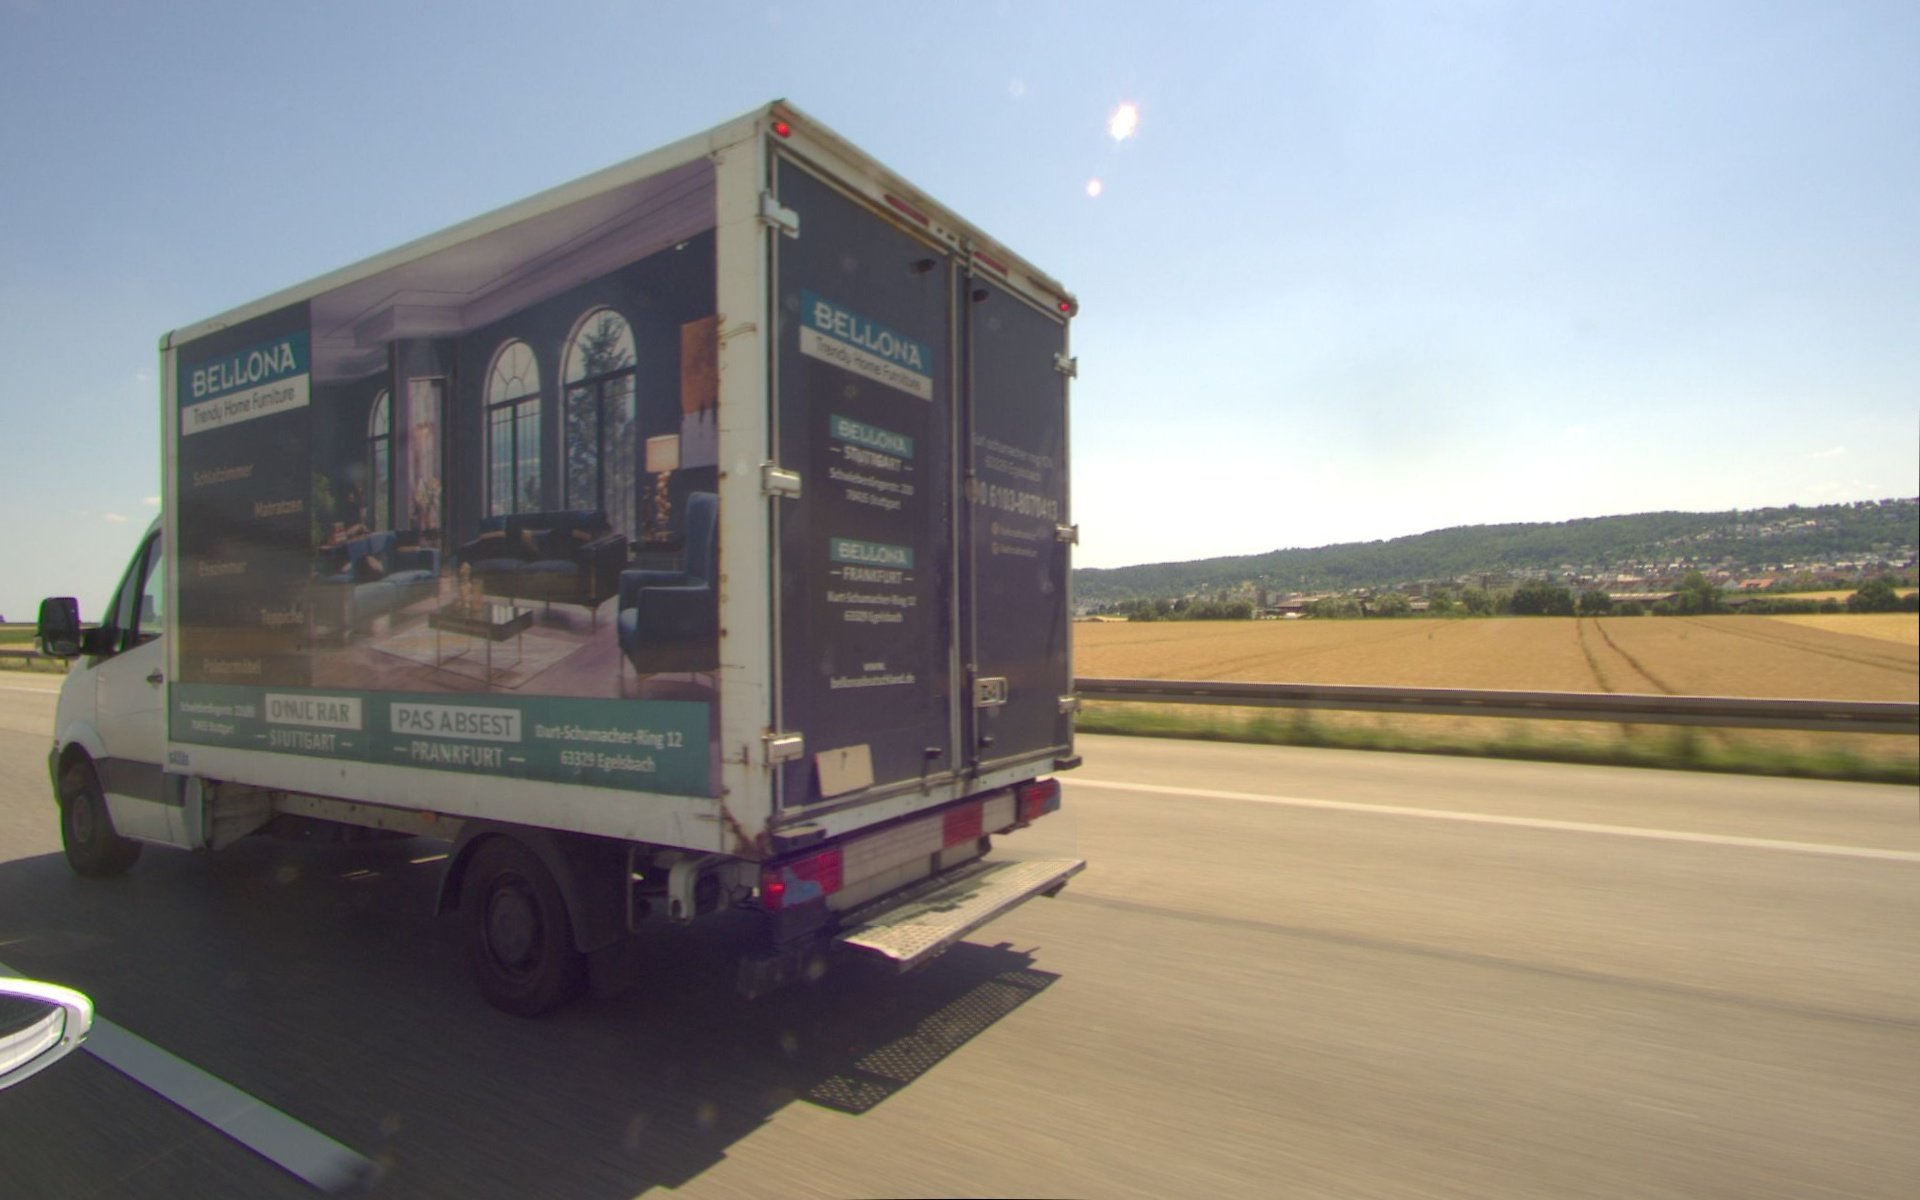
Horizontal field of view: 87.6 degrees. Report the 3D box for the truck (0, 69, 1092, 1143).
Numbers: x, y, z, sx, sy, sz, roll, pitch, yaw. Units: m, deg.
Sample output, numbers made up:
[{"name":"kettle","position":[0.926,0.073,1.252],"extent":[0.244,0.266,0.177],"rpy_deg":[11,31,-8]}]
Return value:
[{"name":"truck","position":[-2.782,0.080,5.645],"extent":[6.653,3.107,2.317],"rpy_deg":[-1,-1,32]}]
